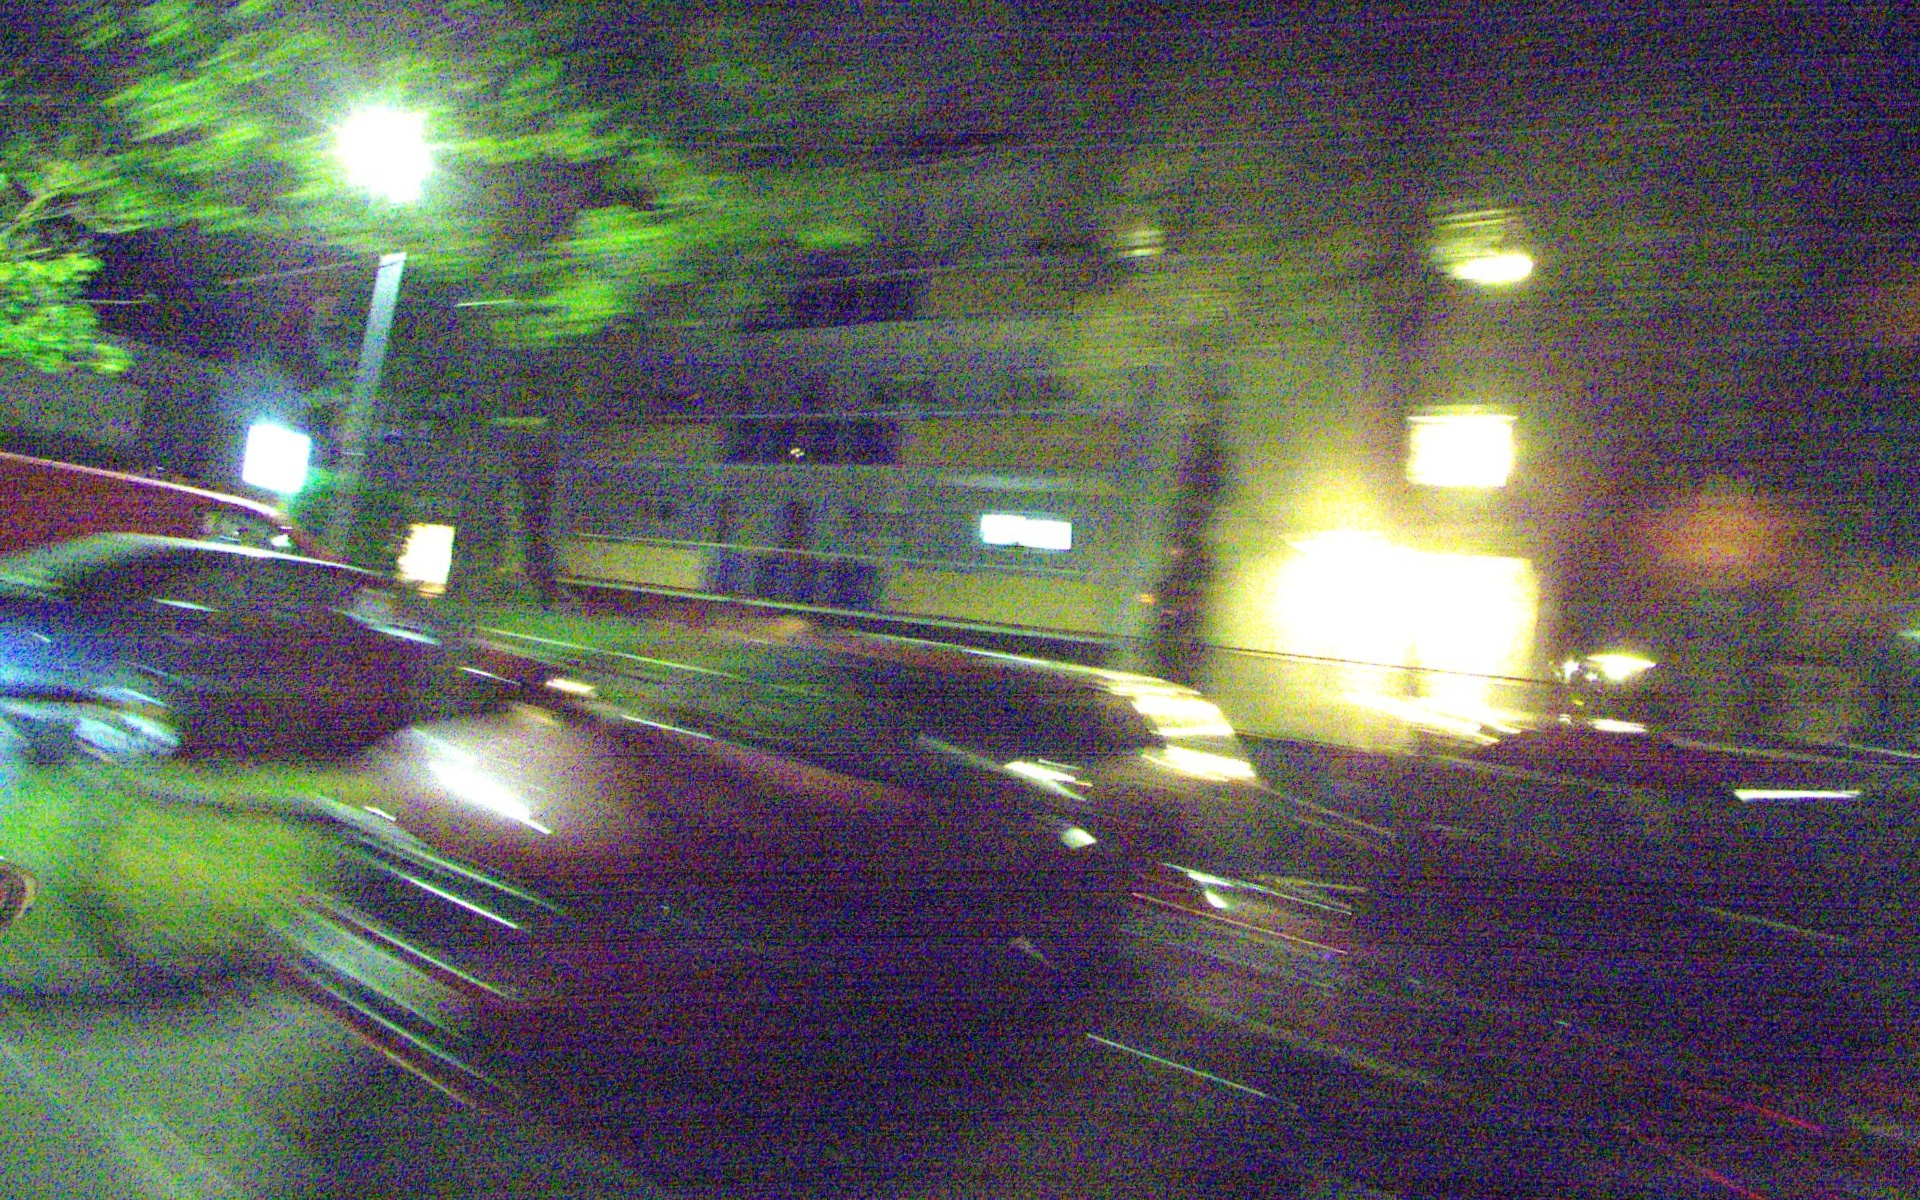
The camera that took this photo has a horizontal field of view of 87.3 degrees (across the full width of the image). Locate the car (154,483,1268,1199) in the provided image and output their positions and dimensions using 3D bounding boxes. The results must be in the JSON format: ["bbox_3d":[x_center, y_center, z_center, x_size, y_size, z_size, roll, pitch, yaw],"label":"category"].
[{"bbox_3d":[-0.382,0.798,4.623,2.073,1.574,4.664,7,-4,34],"label":"car"}]

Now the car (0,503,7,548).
[{"bbox_3d":[-16.321,-1.003,14.014,1.822,1.531,3.928,7,-3,28],"label":"car"}]

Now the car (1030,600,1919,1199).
[{"bbox_3d":[2.075,1.130,3.382,1.967,1.574,3.998,7,-3,32],"label":"car"}]

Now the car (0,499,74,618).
[{"bbox_3d":[-14.329,-0.802,12.928,1.823,1.530,3.926,6,-3,30],"label":"car"}]

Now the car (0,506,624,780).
[{"bbox_3d":[-4.923,0.344,7.283,1.903,1.435,4.408,7,-3,32],"label":"car"}]

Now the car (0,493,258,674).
[{"bbox_3d":[-9.722,-0.284,10.031,1.956,1.569,3.921,7,-3,35],"label":"car"}]
